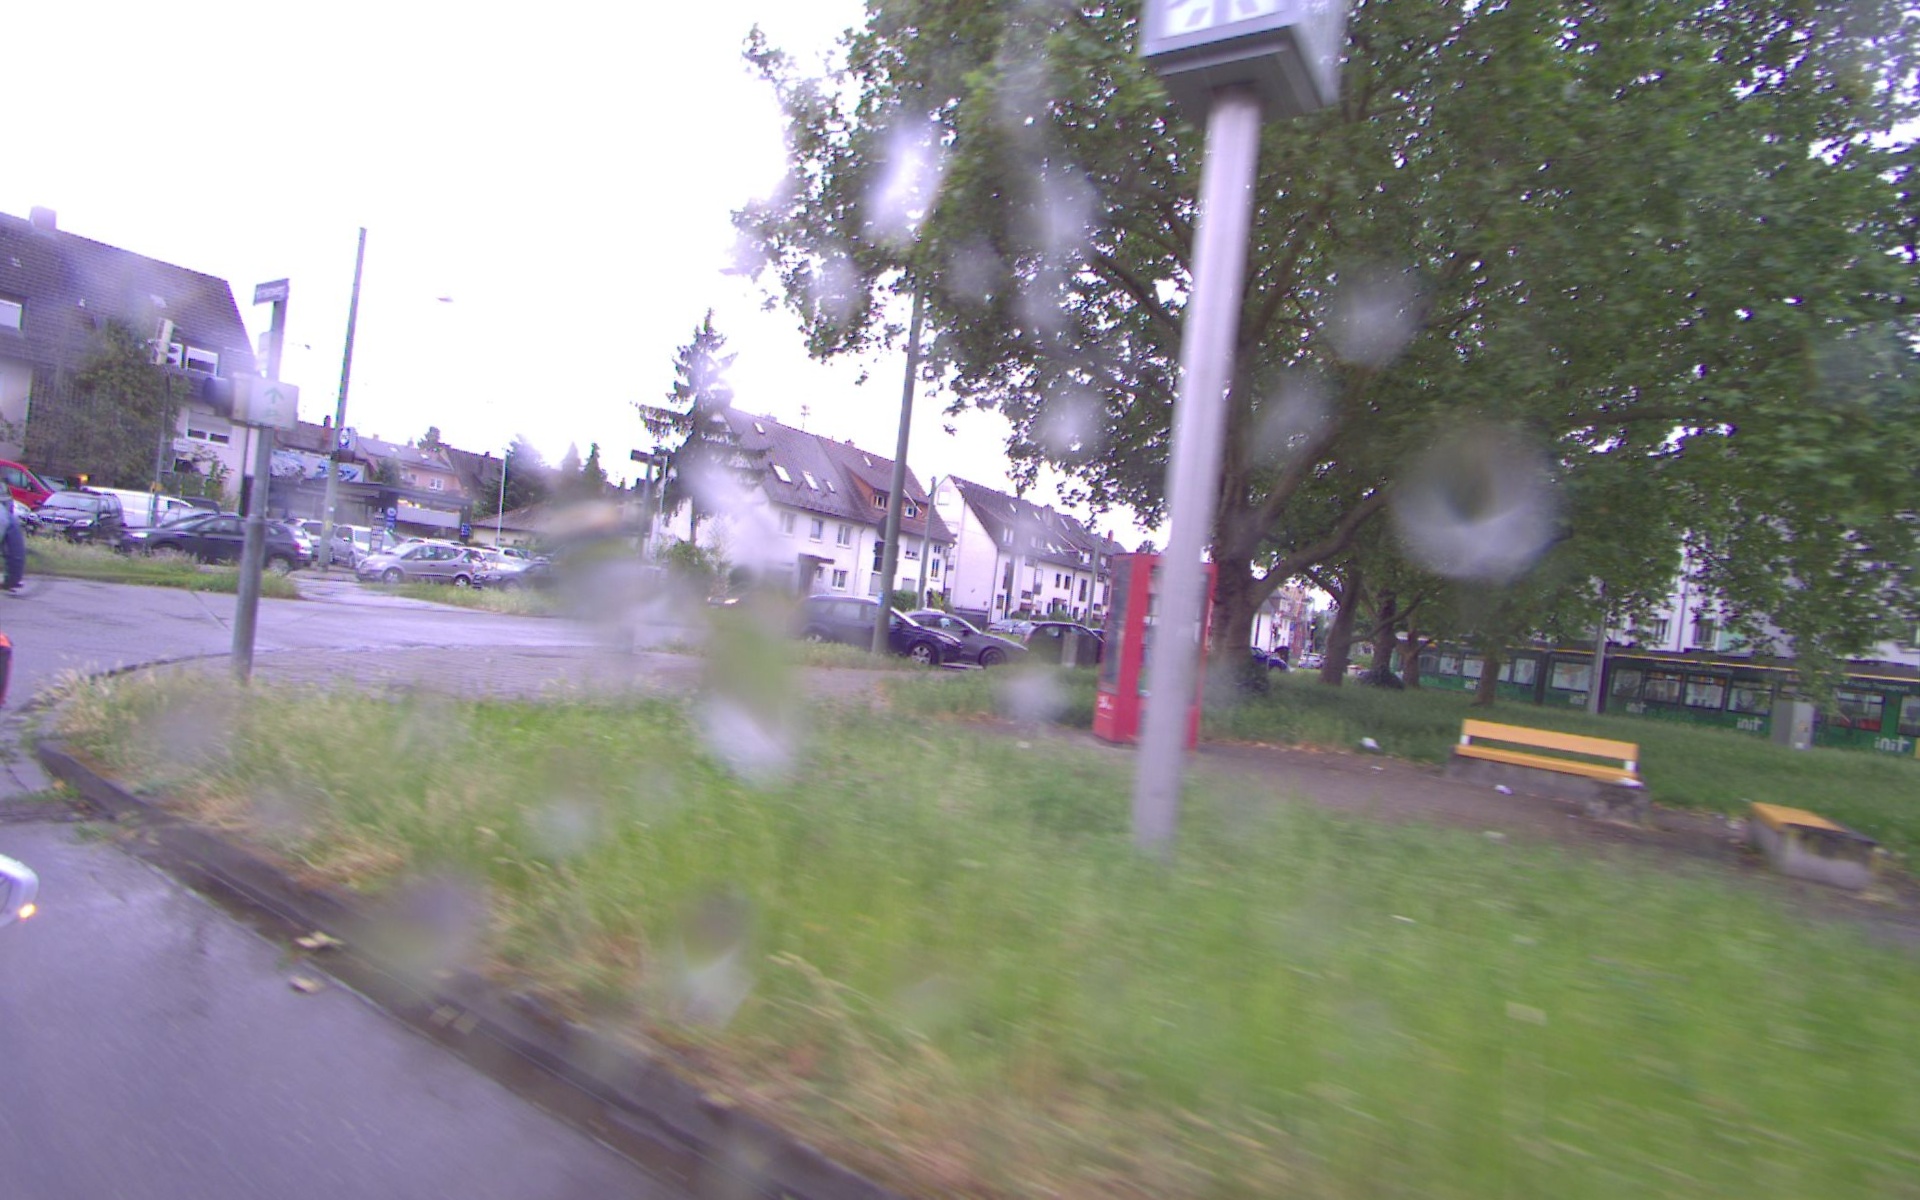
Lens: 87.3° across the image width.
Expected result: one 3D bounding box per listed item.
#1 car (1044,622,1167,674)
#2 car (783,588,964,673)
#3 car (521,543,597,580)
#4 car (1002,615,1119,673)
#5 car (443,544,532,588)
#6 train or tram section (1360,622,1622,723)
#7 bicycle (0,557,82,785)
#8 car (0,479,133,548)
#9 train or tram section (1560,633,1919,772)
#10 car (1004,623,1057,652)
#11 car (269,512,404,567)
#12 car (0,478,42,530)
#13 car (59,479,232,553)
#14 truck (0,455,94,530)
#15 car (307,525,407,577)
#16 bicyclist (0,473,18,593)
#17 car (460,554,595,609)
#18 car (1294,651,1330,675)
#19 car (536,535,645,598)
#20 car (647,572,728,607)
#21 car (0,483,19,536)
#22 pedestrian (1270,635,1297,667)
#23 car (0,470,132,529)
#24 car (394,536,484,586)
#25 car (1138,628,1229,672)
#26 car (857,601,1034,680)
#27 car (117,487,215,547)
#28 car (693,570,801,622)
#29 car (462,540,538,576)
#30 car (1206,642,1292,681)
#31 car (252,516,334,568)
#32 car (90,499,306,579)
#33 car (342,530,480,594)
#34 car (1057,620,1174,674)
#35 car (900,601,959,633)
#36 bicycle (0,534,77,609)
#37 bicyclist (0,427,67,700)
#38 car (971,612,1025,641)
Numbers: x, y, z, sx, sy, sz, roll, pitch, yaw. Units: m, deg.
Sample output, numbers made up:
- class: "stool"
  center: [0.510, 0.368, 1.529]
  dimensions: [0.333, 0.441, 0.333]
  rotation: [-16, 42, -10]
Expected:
- class: "car"
  center: [5.120, 1.696, 35.730]
  dimensions: [3.927, 1.519, 1.824]
  rotation: [4, -1, -6]
- class: "car"
  center: [-2.045, 0.725, 24.607]
  dimensions: [4.099, 1.494, 1.804]
  rotation: [7, 0, 1]
- class: "car"
  center: [-22.458, -2.132, 56.566]
  dimensions: [1.829, 1.599, 4.402]
  rotation: [6, -1, 10]
- class: "car"
  center: [3.239, 1.440, 32.807]
  dimensions: [3.453, 1.524, 1.754]
  rotation: [5, -2, -5]
- class: "car"
  center: [-20.718, -1.485, 44.052]
  dimensions: [3.781, 1.412, 1.720]
  rotation: [7, -2, 35]
- class: "train or tram section"
  center: [26.335, 3.356, 51.611]
  dimensions: [2.671, 3.632, 14.703]
  rotation: [8, -1, -12]
- class: "bicycle"
  center: [-5.745, 0.325, 5.698]
  dimensions: [1.898, 1.086, 0.752]
  rotation: [7, 1, 37]
- class: "car"
  center: [-27.700, -2.618, 31.353]
  dimensions: [1.975, 1.738, 3.974]
  rotation: [6, 0, -26]
- class: "train or tram section"
  center: [29.411, 3.556, 37.227]
  dimensions: [2.671, 3.632, 14.703]
  rotation: [8, -1, -12]
- class: "car"
  center: [4.770, 2.527, 67.314]
  dimensions: [1.714, 1.503, 3.995]
  rotation: [7, -3, 32]
- class: "car"
  center: [-26.188, -2.515, 42.375]
  dimensions: [1.732, 1.708, 4.436]
  rotation: [6, -1, 33]
- class: "car"
  center: [-33.221, -3.383, 33.294]
  dimensions: [3.947, 1.617, 1.979]
  rotation: [7, -1, -39]
- class: "car"
  center: [-29.797, -3.047, 36.938]
  dimensions: [1.968, 2.038, 4.436]
  rotation: [6, -1, 33]
- class: "truck"
  center: [-34.810, -4.030, 35.615]
  dimensions: [6.055, 2.300, 1.978]
  rotation: [7, -1, -40]
- class: "car"
  center: [-23.697, -1.945, 39.498]
  dimensions: [3.809, 1.598, 1.803]
  rotation: [7, 1, 33]
- class: "bicyclist"
  center: [-13.228, -0.950, 13.222]
  dimensions: [0.819, 1.577, 0.913]
  rotation: [6, -1, 28]
- class: "car"
  center: [-16.248, -0.662, 38.048]
  dimensions: [1.695, 1.354, 4.382]
  rotation: [7, -3, 33]
- class: "car"
  center: [28.552, 5.126, 81.557]
  dimensions: [1.928, 1.571, 3.995]
  rotation: [5, -2, 30]
- class: "car"
  center: [-18.411, -1.692, 50.096]
  dimensions: [5.063, 2.433, 2.150]
  rotation: [7, -2, 31]
- class: "car"
  center: [-14.652, -0.563, 54.254]
  dimensions: [1.966, 1.586, 3.882]
  rotation: [7, 3, 30]
- class: "car"
  center: [-29.616, -2.810, 29.498]
  dimensions: [1.785, 1.598, 3.846]
  rotation: [6, 0, -26]
- class: "pedestrian"
  center: [19.164, 3.007, 59.568]
  dimensions: [1.029, 1.735, 1.080]
  rotation: [6, 0, -3]
- class: "car"
  center: [-36.020, -4.001, 39.913]
  dimensions: [1.968, 1.708, 4.436]
  rotation: [6, -1, 33]
- class: "car"
  center: [-21.906, -1.652, 42.271]
  dimensions: [3.560, 1.591, 1.720]
  rotation: [7, -2, 35]
- class: "car"
  center: [9.626, 2.144, 43.535]
  dimensions: [3.530, 1.498, 1.638]
  rotation: [5, 0, 5]
- class: "car"
  center: [-0.338, 1.066, 27.125]
  dimensions: [4.463, 1.494, 1.805]
  rotation: [7, 0, 5]
- class: "car"
  center: [-25.906, -2.658, 32.965]
  dimensions: [1.815, 1.521, 4.027]
  rotation: [9, -2, -30]
- class: "car"
  center: [-9.278, -0.131, 44.209]
  dimensions: [1.966, 1.623, 4.571]
  rotation: [7, -2, 29]
- class: "car"
  center: [-26.846, -2.426, 58.887]
  dimensions: [1.759, 1.599, 4.450]
  rotation: [6, -1, 10]
- class: "car"
  center: [15.517, 3.301, 54.102]
  dimensions: [3.926, 1.502, 1.999]
  rotation: [6, 1, 0]
- class: "car"
  center: [-24.500, -2.152, 36.903]
  dimensions: [1.822, 1.521, 4.011]
  rotation: [9, -3, -42]
- class: "car"
  center: [-19.825, -1.537, 26.350]
  dimensions: [1.966, 1.494, 3.993]
  rotation: [7, 0, 29]
- class: "car"
  center: [-18.629, -1.257, 34.258]
  dimensions: [1.694, 1.521, 3.640]
  rotation: [7, -2, 32]
- class: "car"
  center: [5.848, 1.778, 38.210]
  dimensions: [3.928, 1.571, 1.961]
  rotation: [6, -2, -4]
- class: "car"
  center: [-1.847, 1.044, 61.727]
  dimensions: [1.579, 1.439, 3.940]
  rotation: [7, -2, 31]
- class: "bicycle"
  center: [-13.208, -0.455, 13.376]
  dimensions: [0.809, 0.923, 1.984]
  rotation: [6, -2, 28]
- class: "bicyclist"
  center: [-5.690, -0.240, 5.678]
  dimensions: [0.833, 1.505, 0.750]
  rotation: [7, 2, 37]
- class: "car"
  center: [2.687, 1.833, 69.669]
  dimensions: [1.579, 1.439, 4.662]
  rotation: [7, -3, 31]
